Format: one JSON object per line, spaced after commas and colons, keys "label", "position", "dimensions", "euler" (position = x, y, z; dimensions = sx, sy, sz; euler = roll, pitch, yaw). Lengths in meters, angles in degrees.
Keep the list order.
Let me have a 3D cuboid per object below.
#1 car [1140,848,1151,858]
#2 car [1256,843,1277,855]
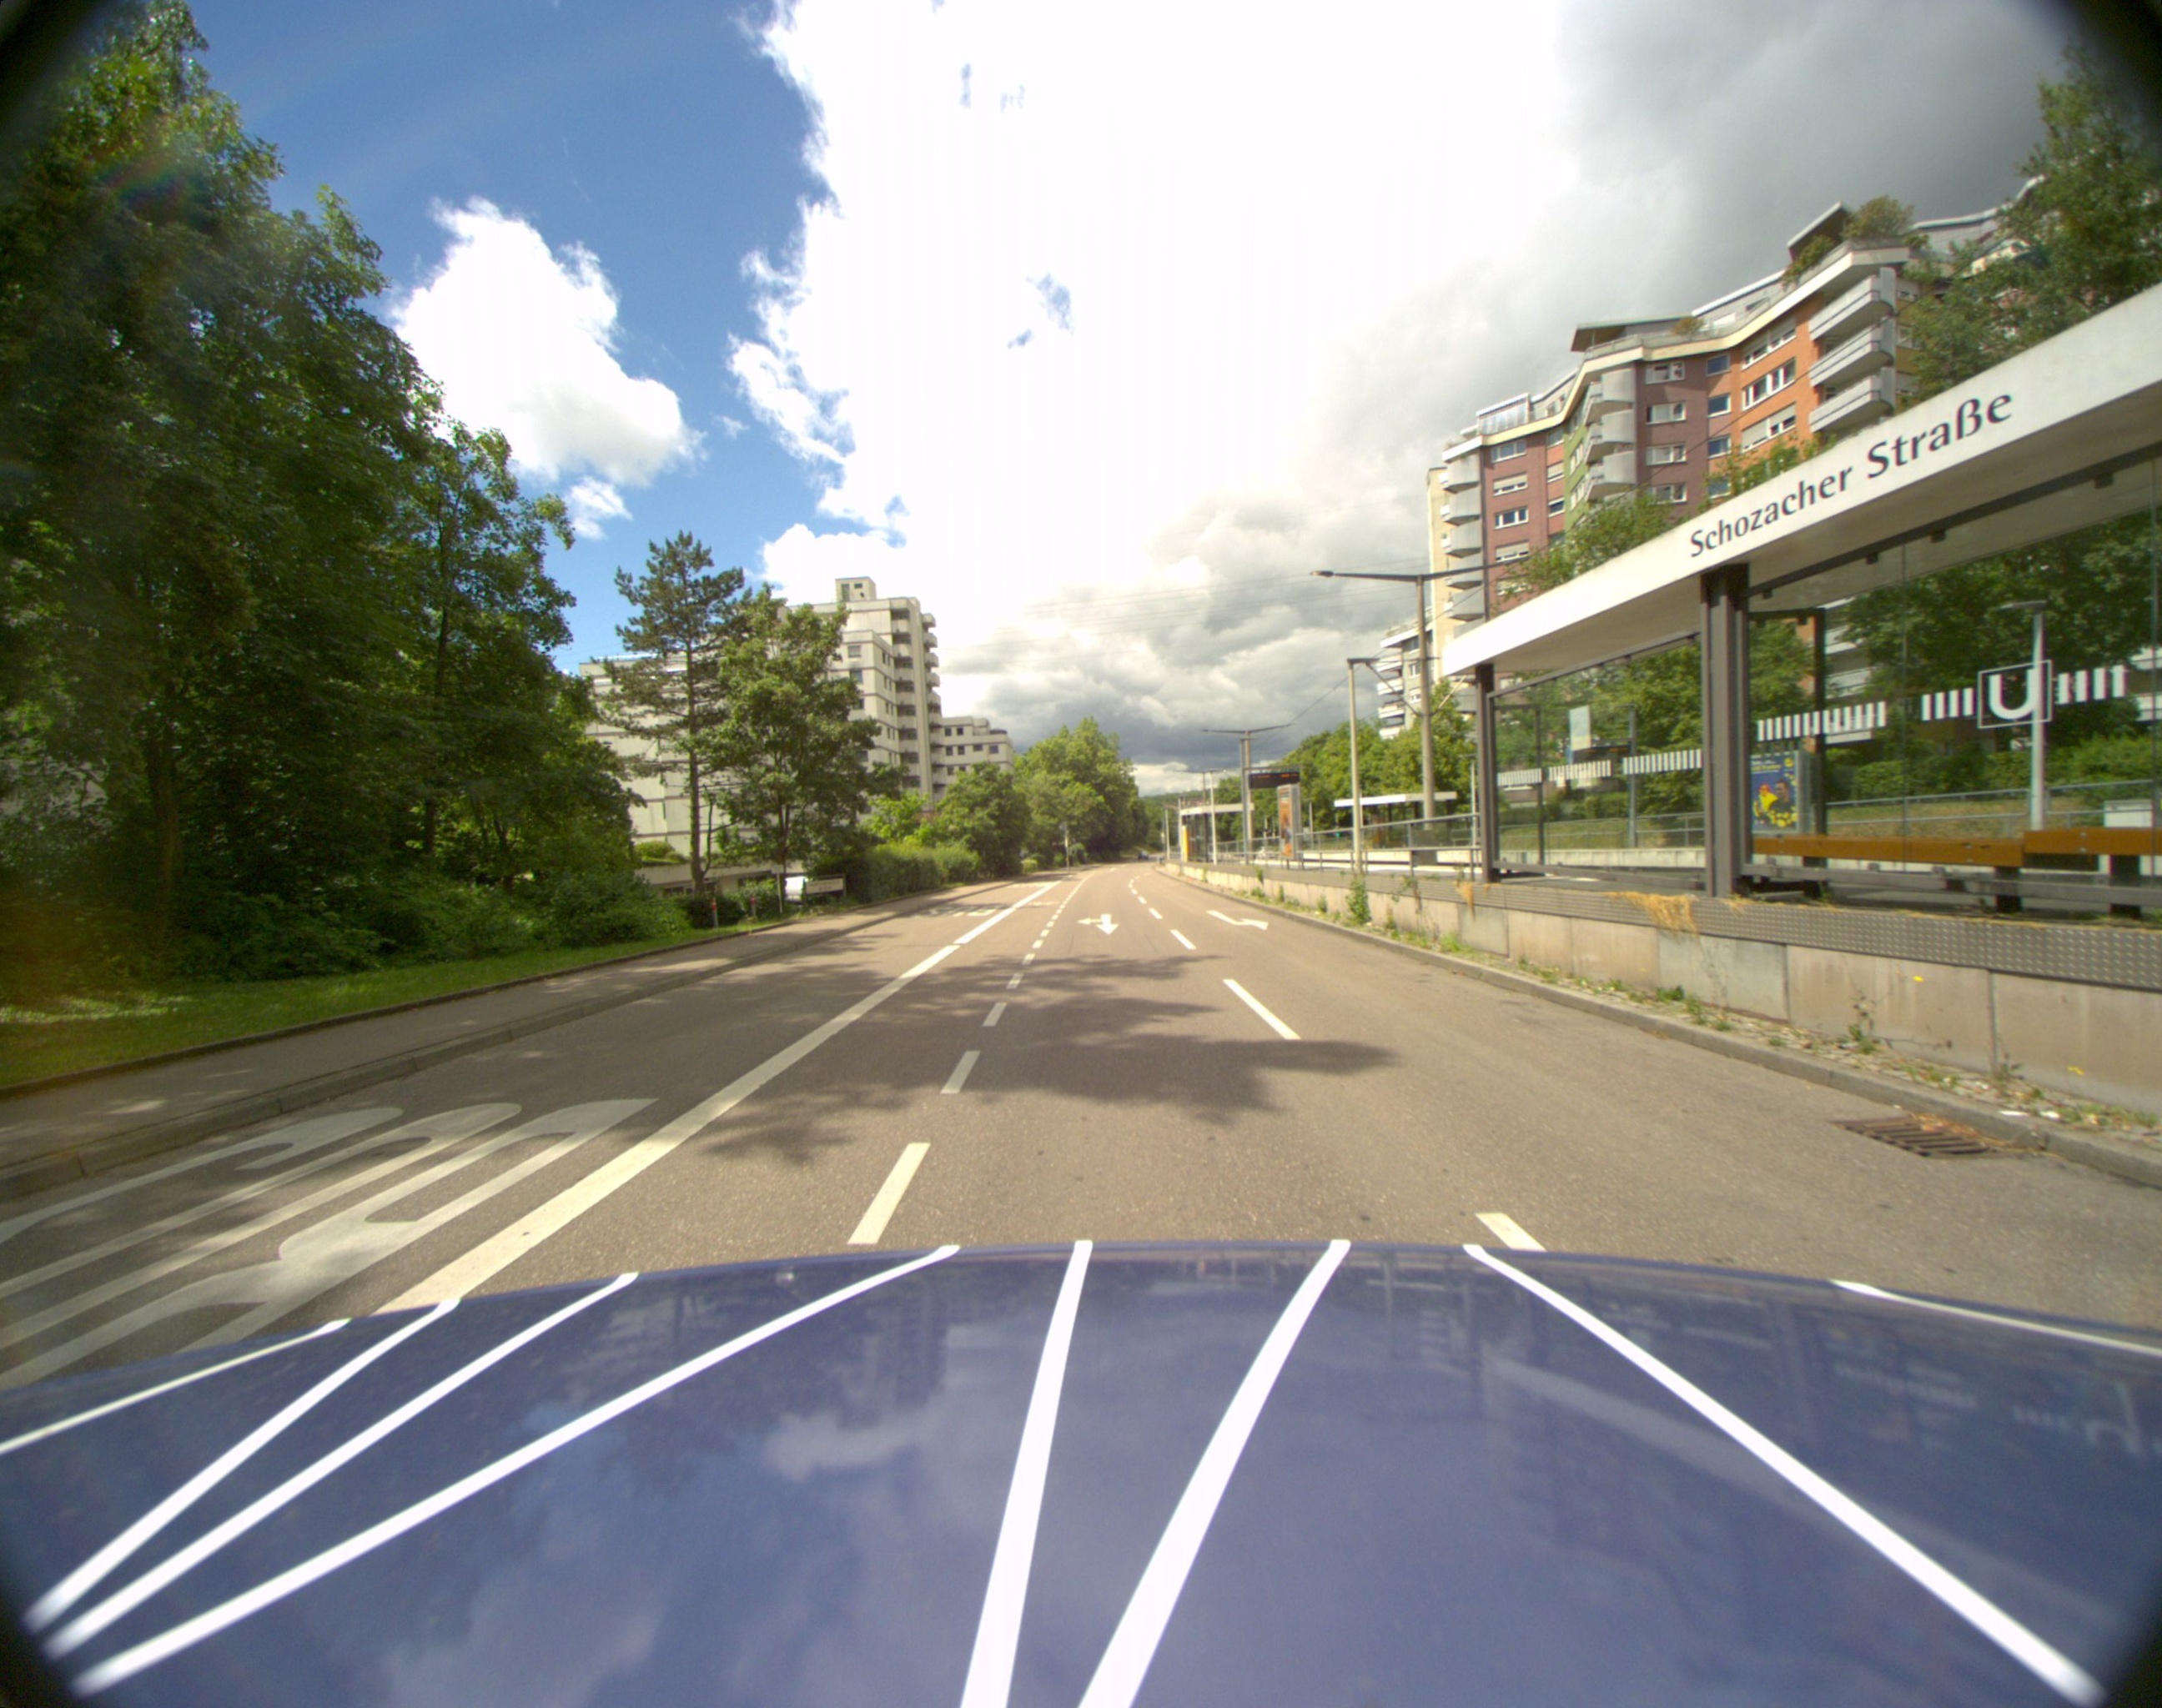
{"label": "car", "position": [10.412, -0.201, 122.130], "dimensions": [1.736, 1.477, 3.817], "euler": [-2, 1, 5]}
{"label": "car", "position": [22.793, -0.652, 93.266], "dimensions": [1.658, 1.410, 4.000], "euler": [-2, 0, 1]}
